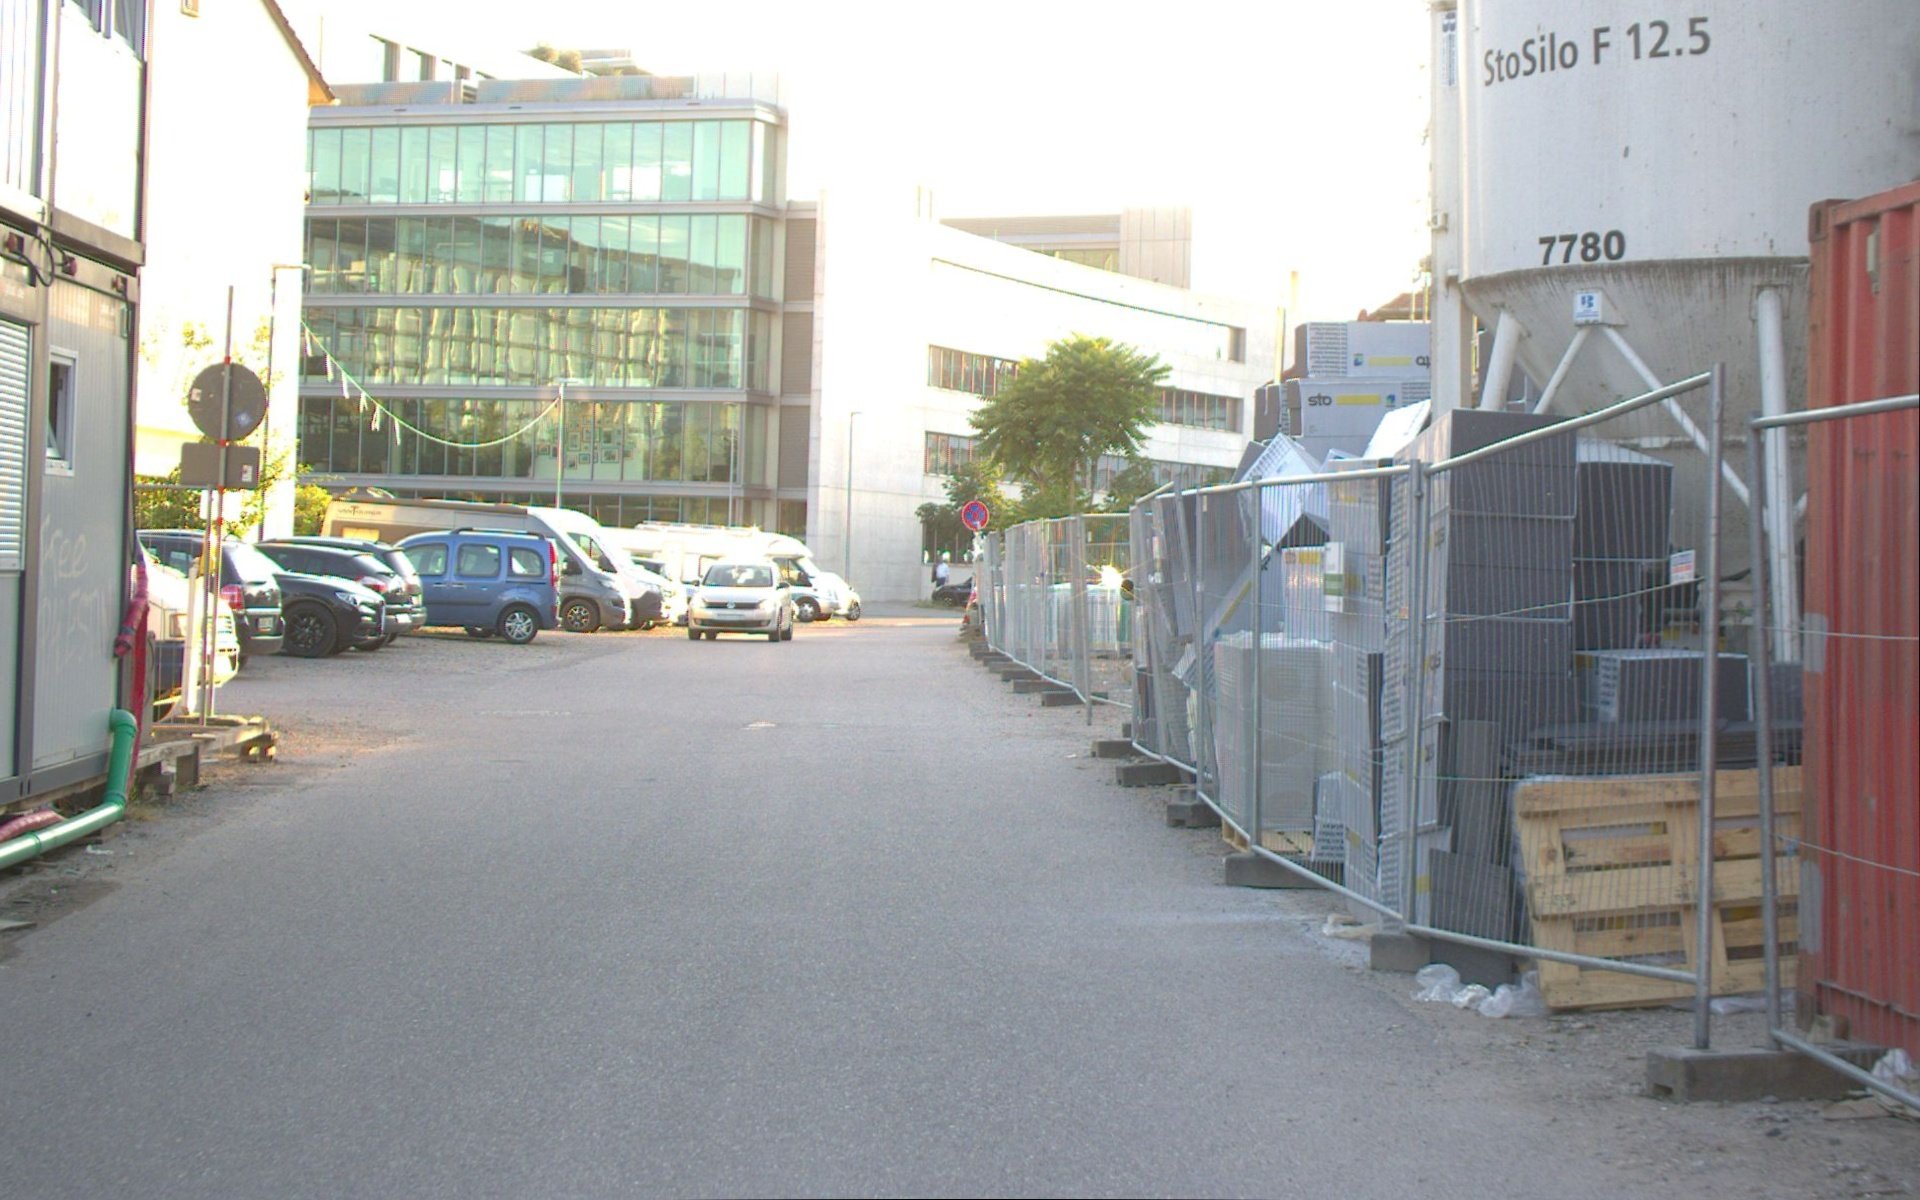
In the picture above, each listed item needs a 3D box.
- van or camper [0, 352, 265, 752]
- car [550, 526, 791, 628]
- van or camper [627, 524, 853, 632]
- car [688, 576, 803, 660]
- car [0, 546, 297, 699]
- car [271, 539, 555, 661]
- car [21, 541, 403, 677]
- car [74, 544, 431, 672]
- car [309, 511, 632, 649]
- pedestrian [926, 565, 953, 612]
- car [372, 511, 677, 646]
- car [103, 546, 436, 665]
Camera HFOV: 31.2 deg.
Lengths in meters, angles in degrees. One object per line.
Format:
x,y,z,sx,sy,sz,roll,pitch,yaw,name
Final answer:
-10.306,-0.476,27.813,8.765,3.038,2.595,1,0,0,van or camper
-7.570,-0.617,90.032,5.926,2.481,1.999,2,0,10,car
-6.633,-0.656,103.976,6.336,2.968,2.291,2,0,11,van or camper
-4.113,0.328,66.394,1.665,1.524,3.910,2,1,4,car
-10.164,0.218,39.691,4.505,1.642,1.999,2,1,7,car
-8.987,-0.008,56.730,4.503,1.862,2.000,1,0,-7,car
-9.885,0.101,45.599,4.505,1.642,1.999,2,1,7,car
-9.942,0.100,48.484,4.505,1.642,1.999,2,1,7,car
-10.014,-0.414,70.682,6.327,2.642,2.000,1,0,-1,car
-0.790,-0.446,134.473,0.764,1.810,0.844,2,0,22,pedestrian
-9.410,-0.480,74.677,6.327,2.732,2.000,1,0,-1,car
-10.384,0.073,51.872,4.505,1.642,1.999,2,1,7,car
